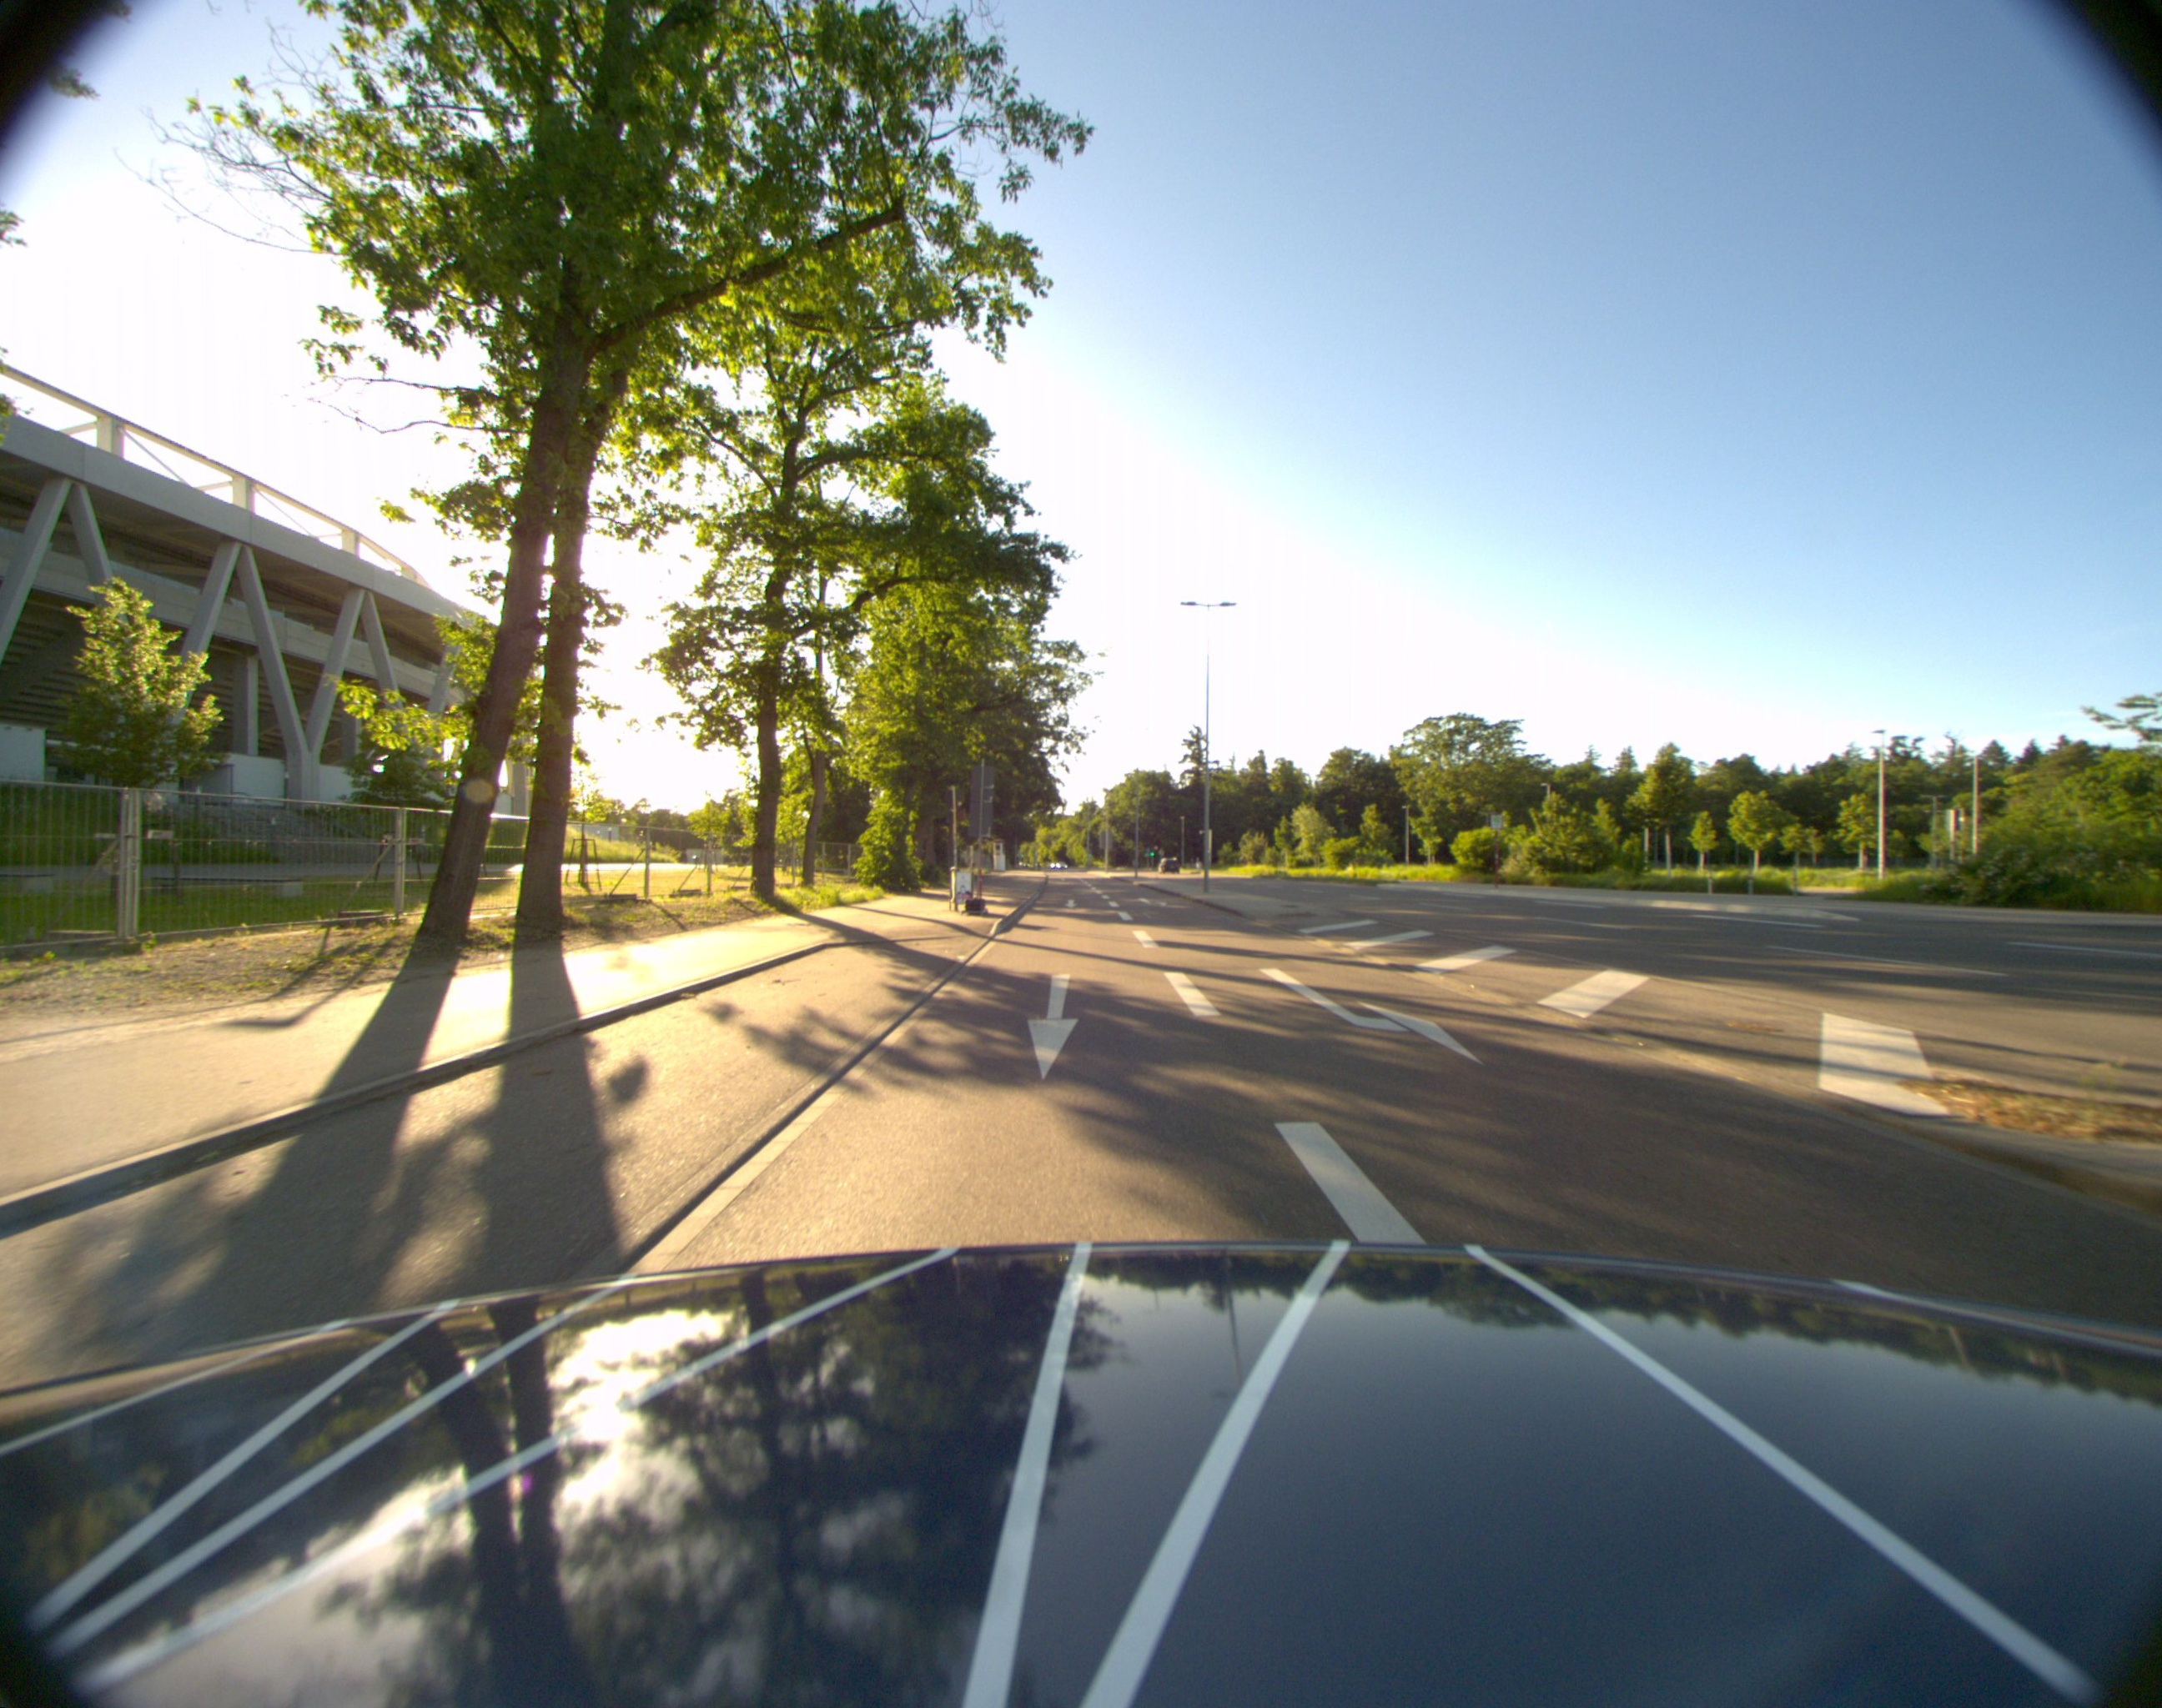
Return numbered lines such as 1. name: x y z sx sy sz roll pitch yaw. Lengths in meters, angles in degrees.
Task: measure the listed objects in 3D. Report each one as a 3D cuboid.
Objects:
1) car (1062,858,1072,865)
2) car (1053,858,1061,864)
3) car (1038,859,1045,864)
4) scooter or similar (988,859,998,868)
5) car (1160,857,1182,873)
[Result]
1. car: -3.054 1.673 162.758 1.841 1.394 3.999 -1 0 -4
2. car: -6.187 1.760 192.732 1.841 1.394 4.990 -1 0 -4
3. car: -12.195 2.336 234.409 1.842 1.395 4.988 1 0 -6
4. scooter or similar: -12.048 1.328 103.907 1.303 1.230 0.334 1 0 -37
5. car: 10.117 1.194 85.753 1.788 1.682 4.702 -1 0 -2
